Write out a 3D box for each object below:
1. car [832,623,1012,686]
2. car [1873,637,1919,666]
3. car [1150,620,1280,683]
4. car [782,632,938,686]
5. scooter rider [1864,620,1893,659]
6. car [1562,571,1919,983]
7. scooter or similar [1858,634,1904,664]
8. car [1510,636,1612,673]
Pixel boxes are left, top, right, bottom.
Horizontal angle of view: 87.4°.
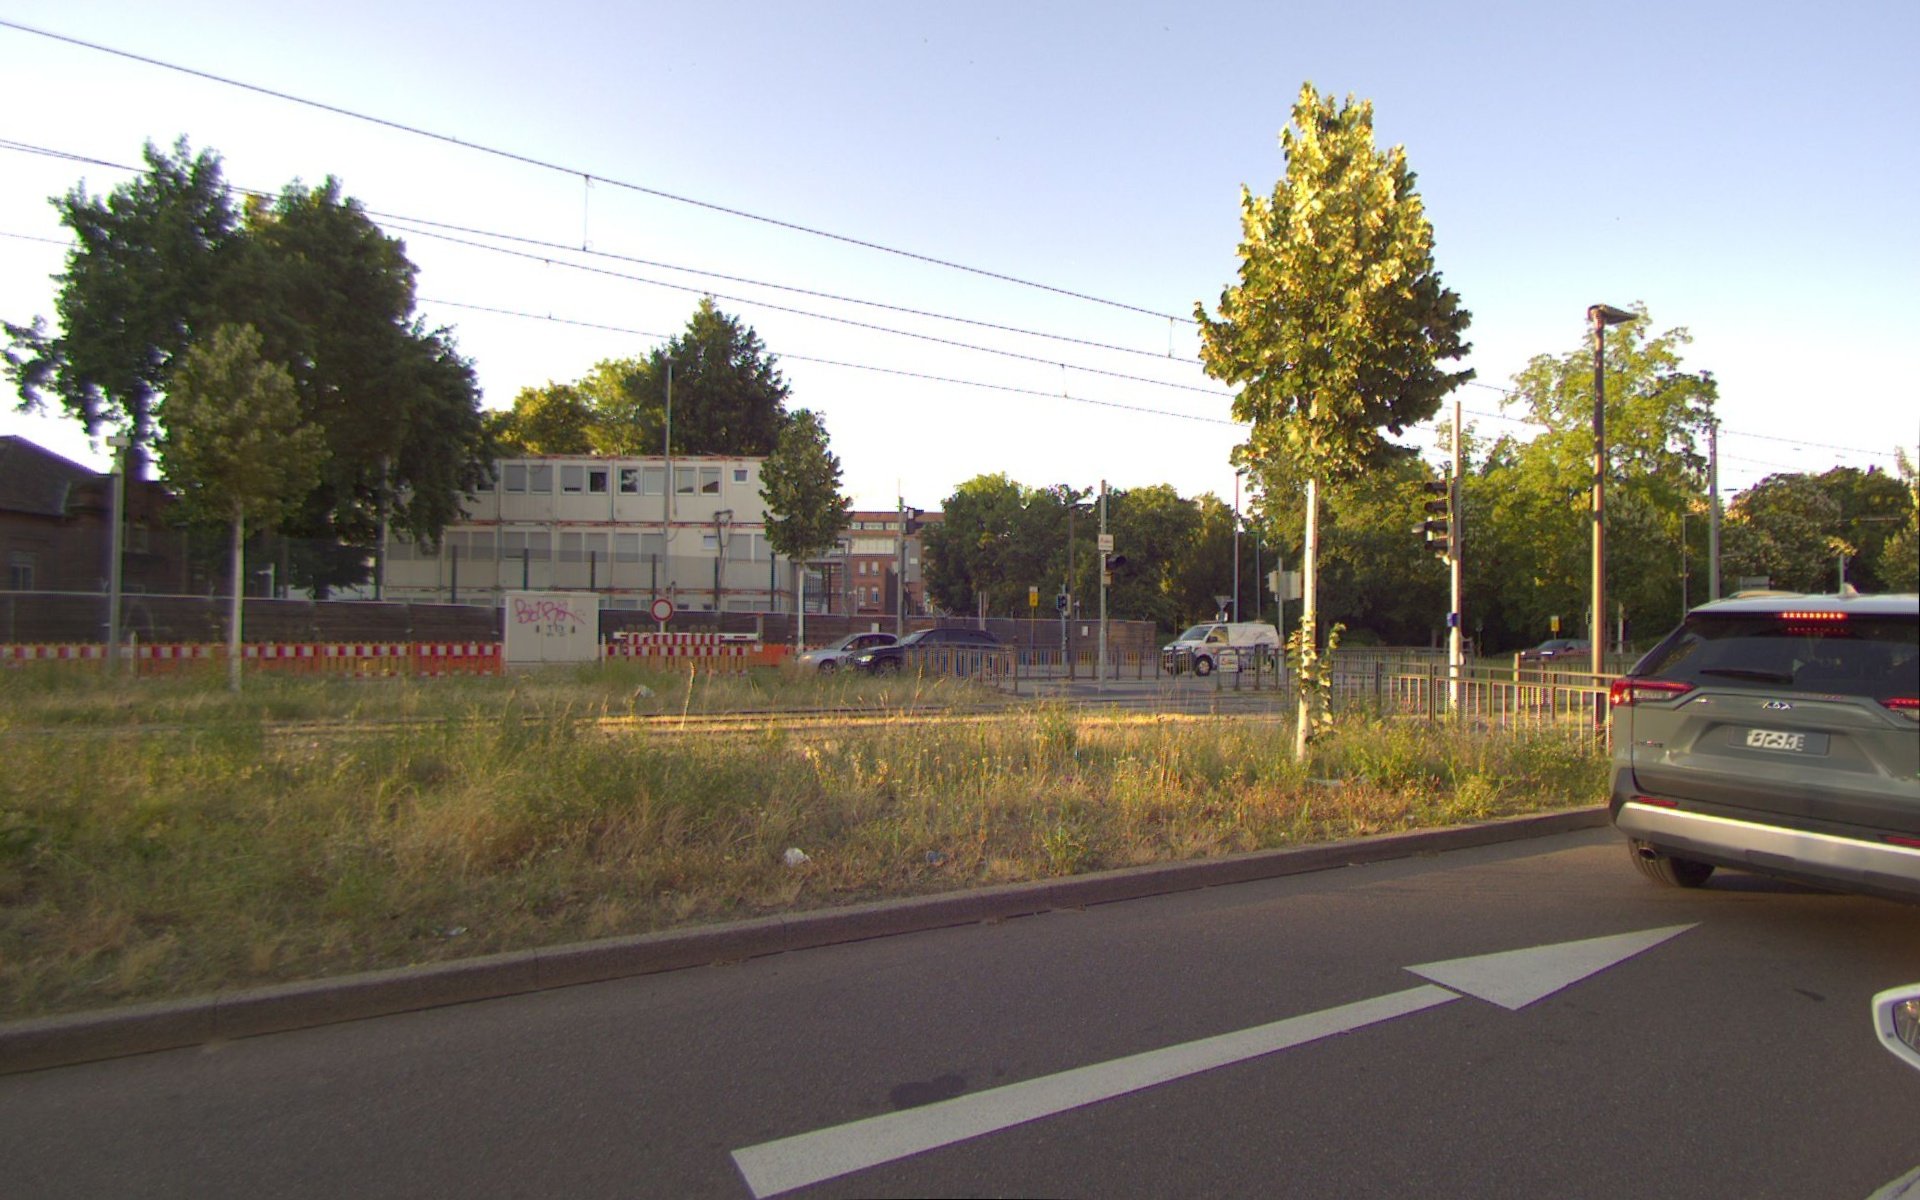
[{"bbox_3d":[-1.003,1.415,27.049,4.466,1.501,1.985,0,0,-28],"label":"car"},{"bbox_3d":[51.558,2.803,54.564,3.737,1.501,1.792,1,-2,-29],"label":"car"},{"bbox_3d":[9.662,1.896,38.030,4.690,2.197,1.986,0,0,-28],"label":"car"},{"bbox_3d":[-3.118,1.792,31.449,4.465,1.501,1.986,0,0,-28],"label":"car"},{"bbox_3d":[36.610,1.586,40.041,0.812,1.534,0.649,-1,-2,43],"label":"scooter rider"},{"bbox_3d":[5.452,0.729,5.642,4.220,1.681,1.845,0,0,-32],"label":"car"},{"bbox_3d":[36.660,1.924,39.985,1.315,1.168,0.511,-1,-2,43],"label":"scooter or similar"},{"bbox_3d":[27.993,2.504,46.803,4.461,1.501,1.987,0,0,-26],"label":"car"}]
